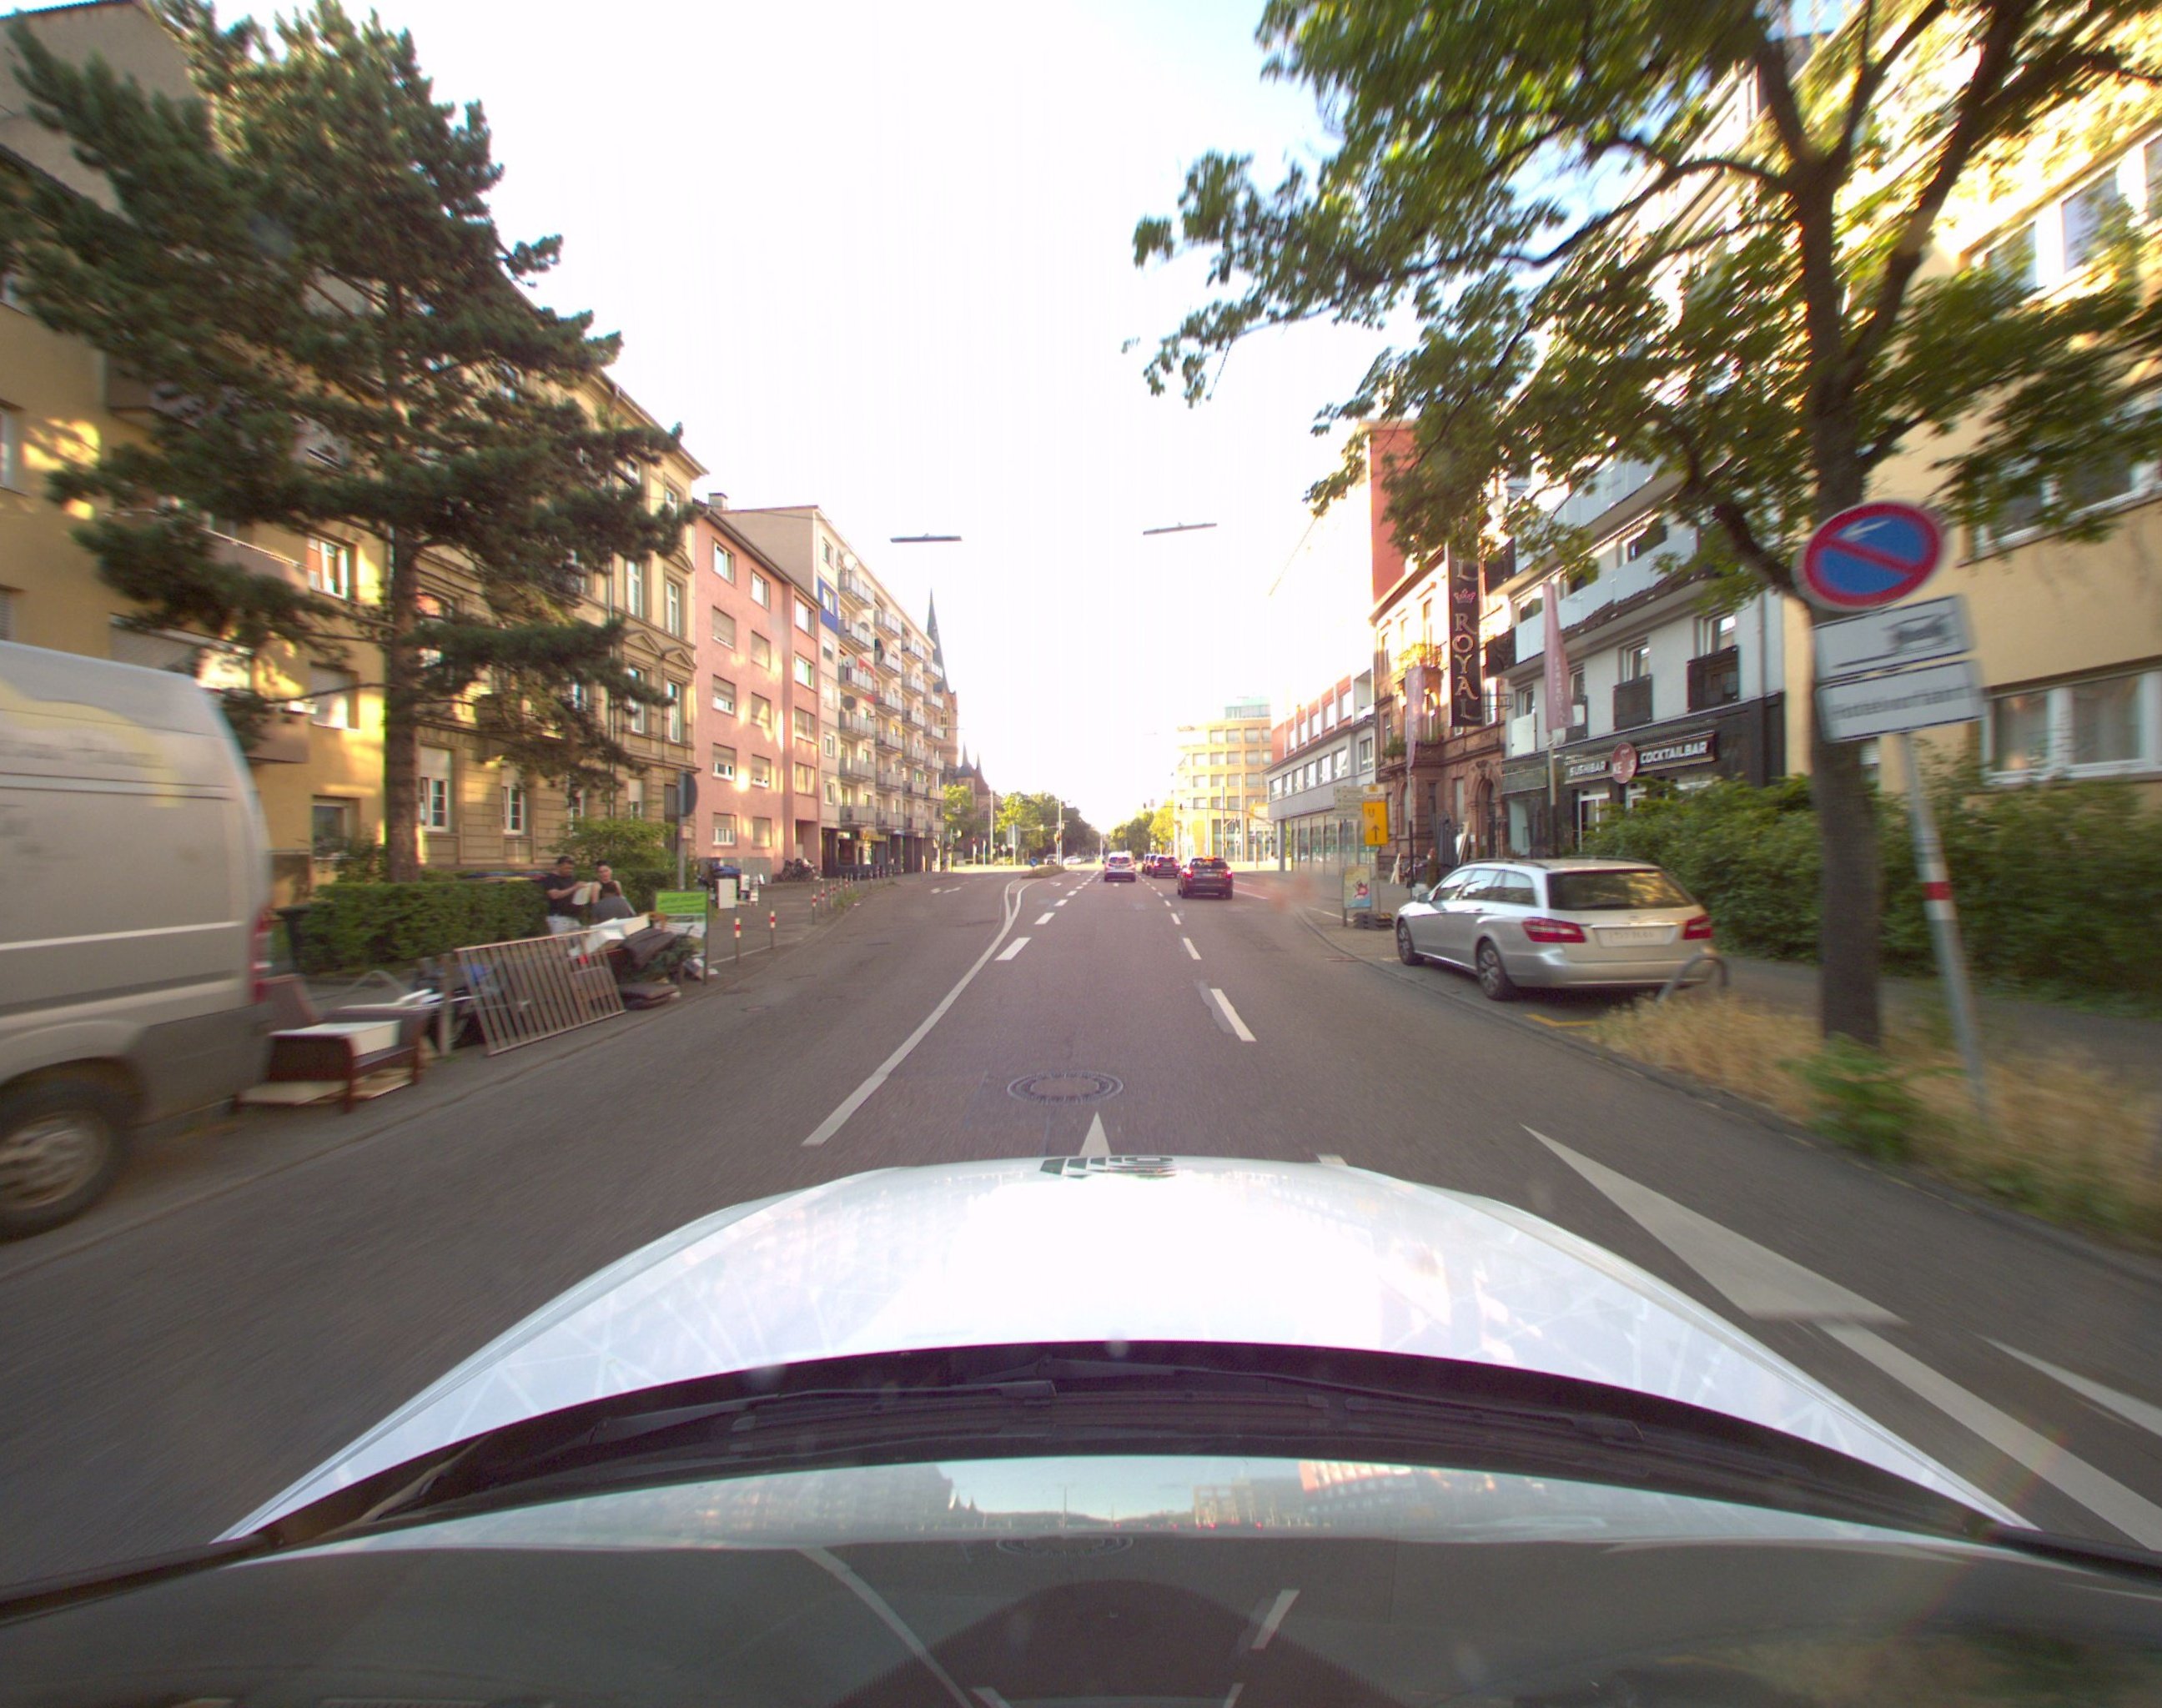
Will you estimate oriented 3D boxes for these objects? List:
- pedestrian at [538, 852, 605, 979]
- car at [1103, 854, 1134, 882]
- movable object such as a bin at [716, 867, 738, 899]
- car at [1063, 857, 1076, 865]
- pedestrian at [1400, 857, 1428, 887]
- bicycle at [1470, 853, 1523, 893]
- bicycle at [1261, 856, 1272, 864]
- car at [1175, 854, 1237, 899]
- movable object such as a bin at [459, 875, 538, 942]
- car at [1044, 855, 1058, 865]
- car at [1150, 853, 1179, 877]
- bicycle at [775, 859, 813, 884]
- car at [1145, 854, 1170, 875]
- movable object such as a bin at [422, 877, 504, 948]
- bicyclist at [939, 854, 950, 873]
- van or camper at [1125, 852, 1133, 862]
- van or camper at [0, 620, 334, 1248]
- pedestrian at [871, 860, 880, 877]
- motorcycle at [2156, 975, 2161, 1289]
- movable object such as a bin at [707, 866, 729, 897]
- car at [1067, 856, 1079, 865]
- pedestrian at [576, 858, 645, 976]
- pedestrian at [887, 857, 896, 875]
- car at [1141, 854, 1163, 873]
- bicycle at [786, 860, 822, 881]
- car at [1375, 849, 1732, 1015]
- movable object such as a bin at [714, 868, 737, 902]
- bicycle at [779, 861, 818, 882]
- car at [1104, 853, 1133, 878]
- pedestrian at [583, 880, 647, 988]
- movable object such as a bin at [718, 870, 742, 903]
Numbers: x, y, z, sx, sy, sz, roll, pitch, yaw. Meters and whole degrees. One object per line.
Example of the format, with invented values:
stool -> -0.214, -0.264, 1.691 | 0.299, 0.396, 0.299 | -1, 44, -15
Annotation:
pedestrian -> -6.909, 0.807, 11.065 | 0.479, 1.652, 0.724 | -1, 0, -4
car -> 2.138, 0.751, 46.611 | 1.701, 1.510, 4.311 | 0, 0, 2
movable object such as a bin -> -12.345, 1.013, 28.385 | 0.643, 1.111, 0.578 | 2, -1, -29
car -> -1.841, 1.153, 131.336 | 1.773, 1.236, 4.003 | -1, 0, 3
pedestrian -> 12.239, 0.655, 29.928 | 0.687, 1.043, 0.946 | -1, 0, 5
bicycle -> 12.658, 0.573, 24.809 | 1.424, 1.110, 0.486 | -3, 1, -16
bicycle -> 26.937, 0.829, 118.543 | 1.510, 1.172, 0.476 | -1, 0, 8
car -> 4.333, 0.722, 28.756 | 1.701, 1.457, 4.161 | 0, 0, 2
movable object such as a bin -> -9.656, 0.893, 13.520 | 0.864, 1.051, 0.582 | 2, 0, 0
car -> -4.839, 0.947, 131.975 | 1.773, 1.647, 4.003 | -1, 0, 3
car -> 5.402, 0.667, 53.081 | 1.644, 1.484, 4.241 | 0, 0, 2
bicycle -> -13.799, 0.842, 39.184 | 1.677, 1.160, 0.492 | 1, -1, -24
car -> 5.531, 0.739, 59.143 | 1.484, 1.505, 3.479 | -1, 0, 1
movable object such as a bin -> -9.781, 0.915, 12.915 | 0.809, 1.051, 0.582 | 2, 0, 0
bicyclist -> -12.245, 0.842, 73.221 | 0.779, 1.660, 0.901 | 0, 0, 2
van or camper -> 12.428, 0.698, 210.510 | 1.985, 2.640, 5.356 | -1, 0, 4
van or camper -> -5.582, 0.324, 1.935 | 2.029, 2.664, 6.014 | 1, 0, -1
pedestrian -> -14.787, 1.044, 58.623 | 0.524, 1.203, 0.547 | -1, 0, -30
motorcycle -> 4.598, 0.928, 2.479 | 1.925, 1.071, 0.817 | -1, 0, -10
movable object such as a bin -> -13.104, 0.986, 29.394 | 0.643, 1.111, 0.578 | 2, -1, -29
car -> -1.289, 1.024, 137.900 | 1.773, 1.464, 4.003 | -1, 0, 3
pedestrian -> -6.811, 0.884, 11.823 | 0.603, 1.652, 0.696 | -1, 0, -4
pedestrian -> -14.690, 0.958, 63.096 | 0.479, 1.384, 0.484 | -1, -1, 22
car -> 5.603, 0.721, 64.618 | 1.578, 1.446, 3.649 | 1, 0, 2
bicycle -> -13.872, 0.816, 40.822 | 1.671, 1.041, 0.547 | 0, -1, -13
car -> 5.331, 0.739, 10.123 | 1.848, 1.512, 4.839 | -2, 0, 4
movable object such as a bin -> -11.860, 1.016, 27.176 | 0.643, 1.111, 0.578 | 2, -1, -29
bicycle -> -13.865, 0.854, 39.992 | 1.667, 1.041, 0.548 | 0, -1, -5
car -> 2.401, 0.709, 52.619 | 1.797, 1.568, 3.619 | -1, 0, 1
pedestrian -> -6.130, 1.038, 10.738 | 0.557, 1.378, 0.480 | 1, 0, -4
movable object such as a bin -> -11.453, 1.057, 26.578 | 0.643, 1.068, 0.621 | 2, -1, -29
